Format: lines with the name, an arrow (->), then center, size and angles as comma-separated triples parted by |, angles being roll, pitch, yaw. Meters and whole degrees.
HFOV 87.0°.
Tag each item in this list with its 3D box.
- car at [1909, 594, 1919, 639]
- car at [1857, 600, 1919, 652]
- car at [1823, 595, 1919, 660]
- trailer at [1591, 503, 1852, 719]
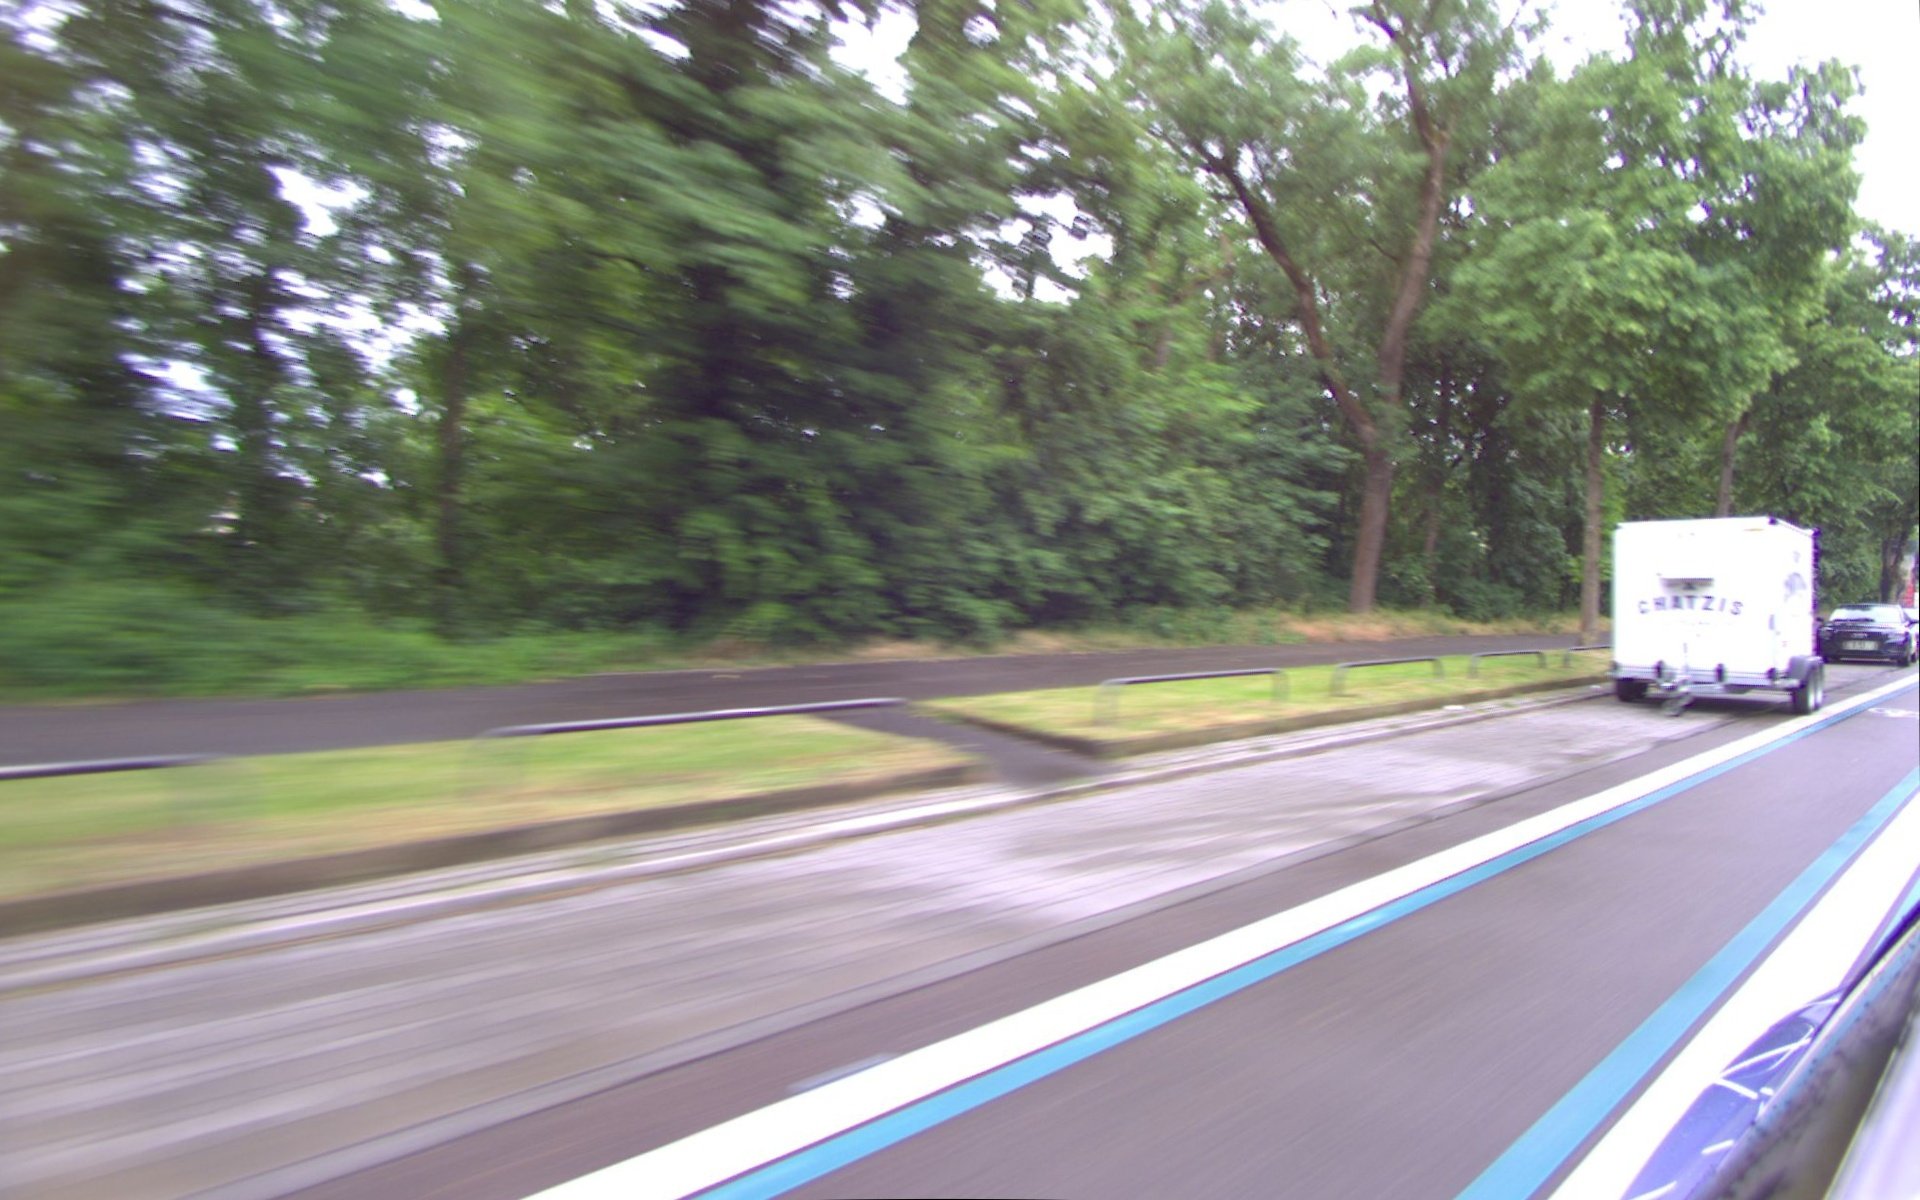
car -> 36.749, 0.619, 37.627 | 3.931, 1.618, 1.803 | 0, 1, -42
car -> 27.705, 0.727, 29.563 | 3.931, 1.395, 1.803 | 0, 1, -42
car -> 23.324, 0.647, 25.571 | 3.931, 1.482, 1.803 | 0, 1, -42
trailer -> 10.883, 0.096, 14.378 | 3.933, 2.597, 2.281 | 0, 2, -43
